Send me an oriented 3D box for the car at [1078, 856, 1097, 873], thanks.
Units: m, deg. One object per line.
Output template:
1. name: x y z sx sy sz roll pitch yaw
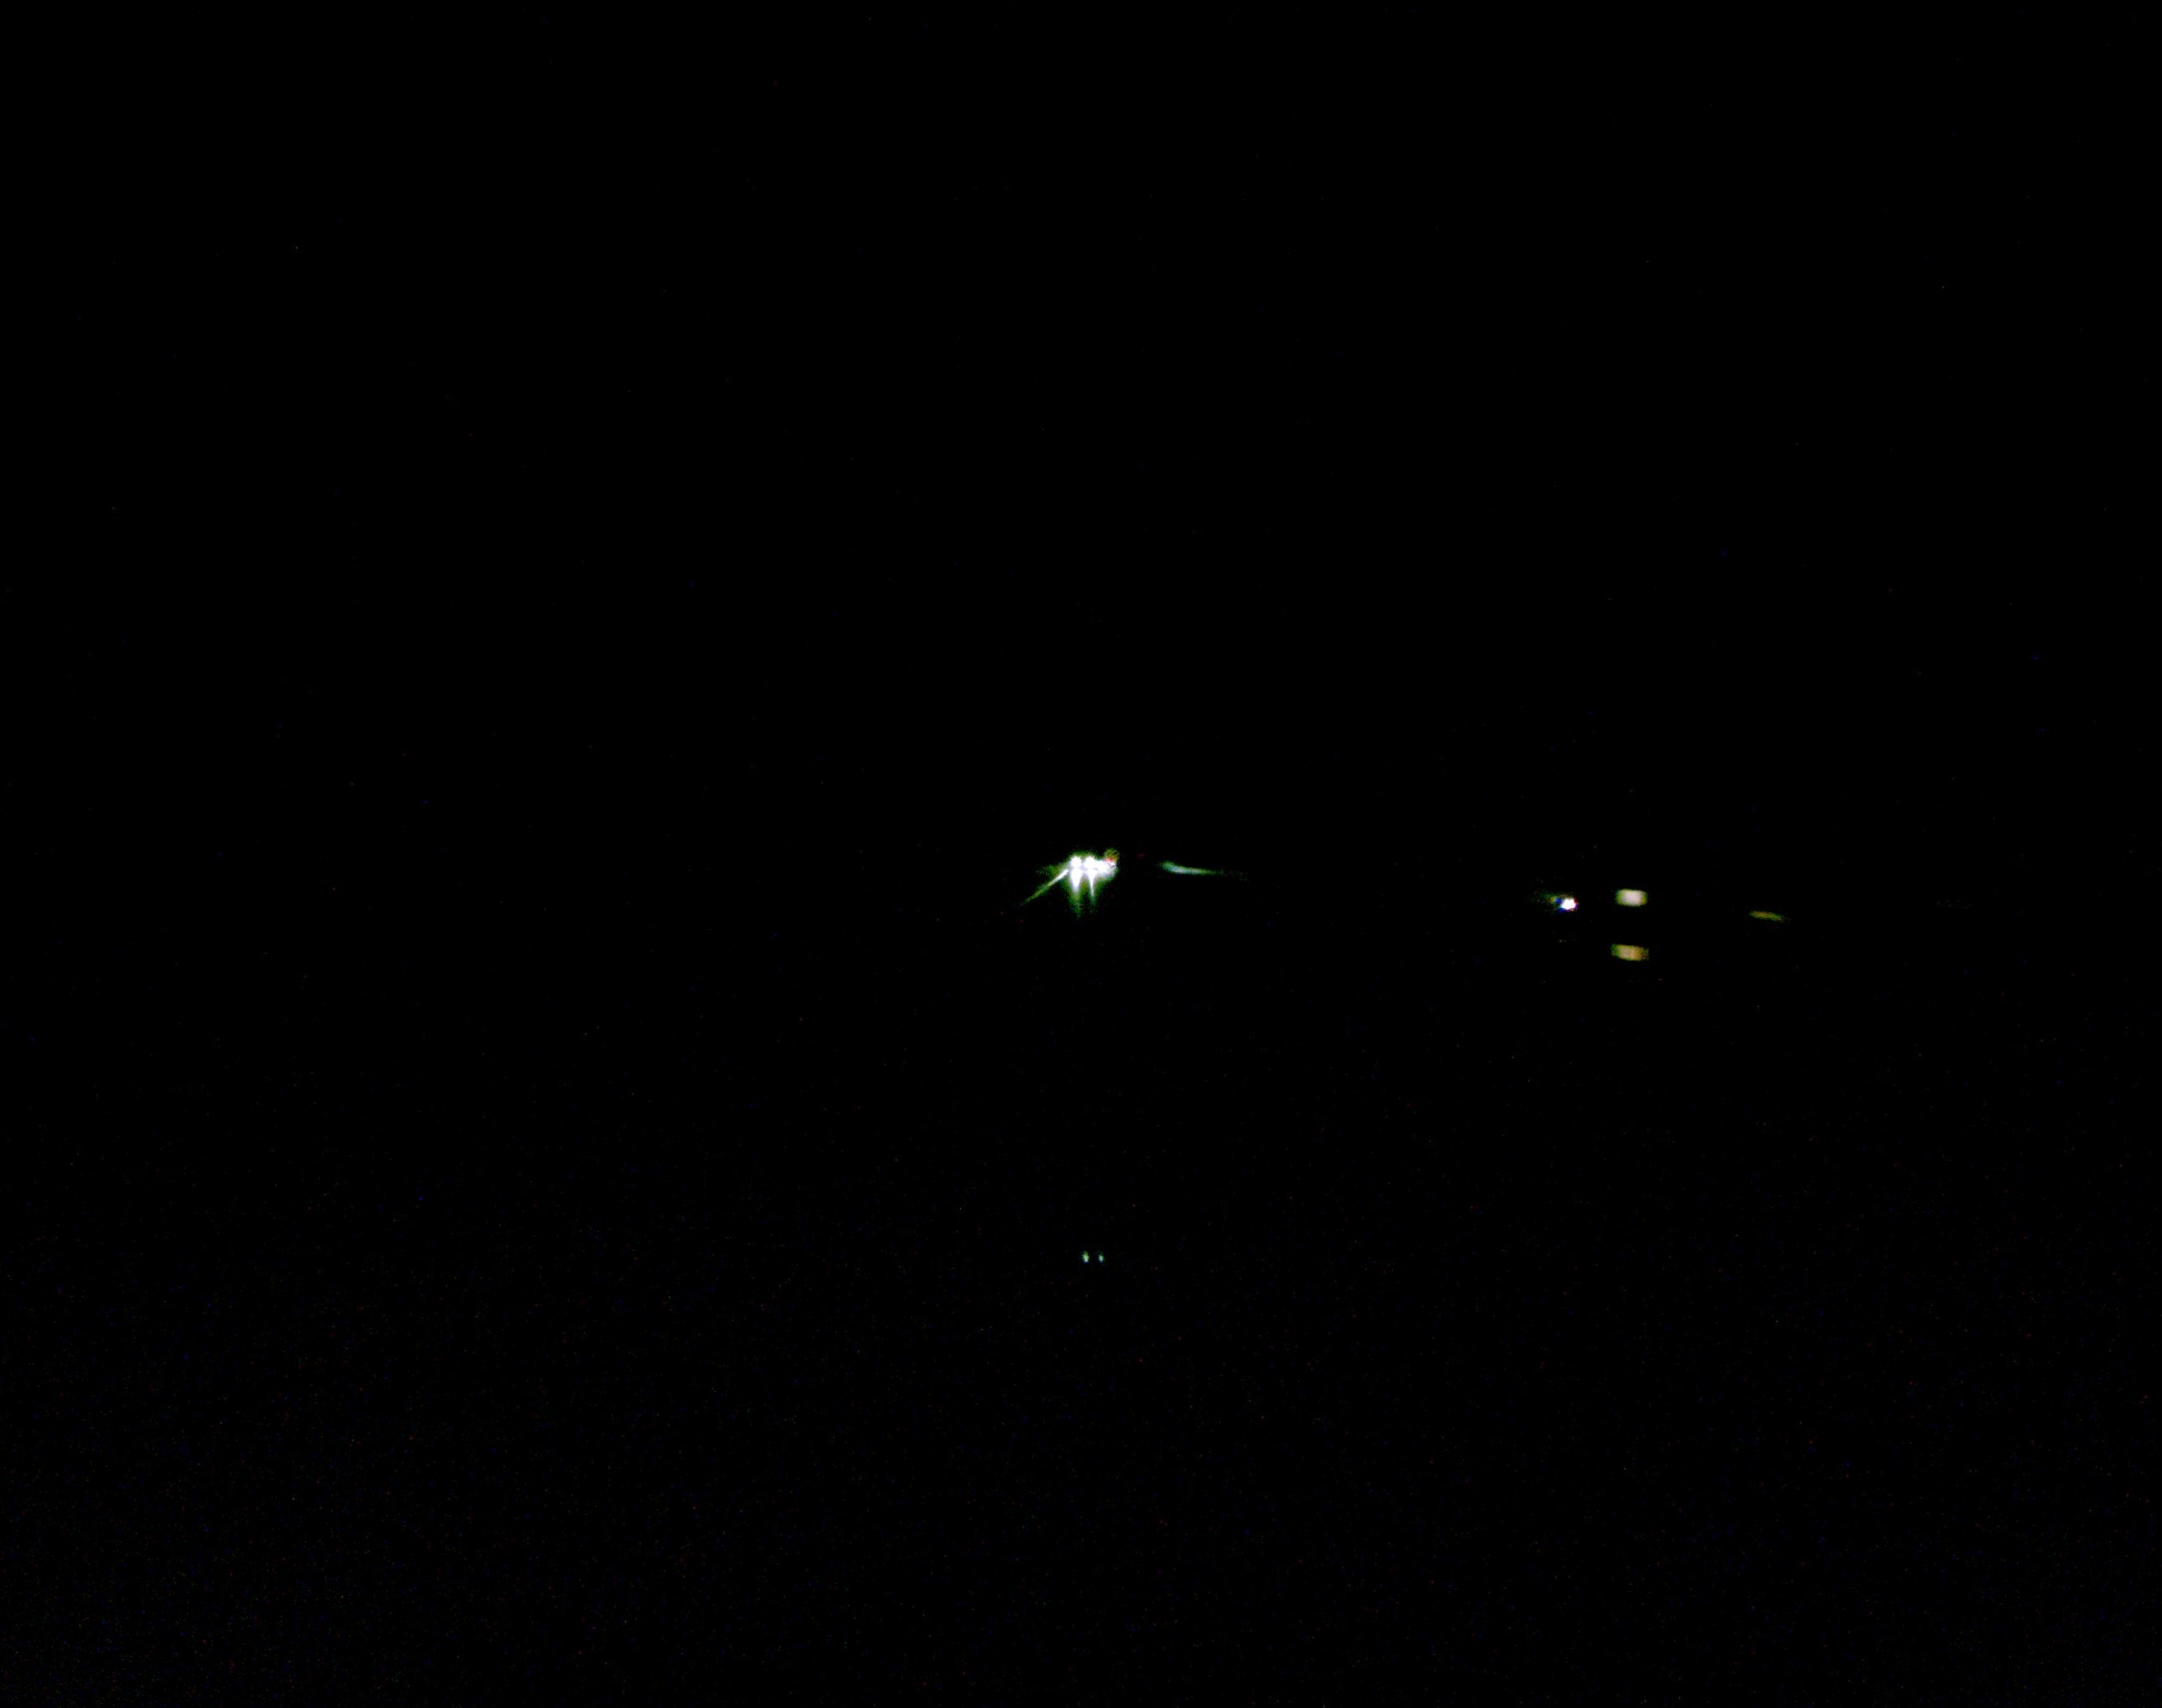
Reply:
1. car: 0.749 1.153 83.991 1.998 1.724 4.000 3 0 2

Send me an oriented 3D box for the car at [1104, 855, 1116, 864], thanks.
1. car: 5.431 1.011 144.483 2.102 1.629 4.455 1 0 1
